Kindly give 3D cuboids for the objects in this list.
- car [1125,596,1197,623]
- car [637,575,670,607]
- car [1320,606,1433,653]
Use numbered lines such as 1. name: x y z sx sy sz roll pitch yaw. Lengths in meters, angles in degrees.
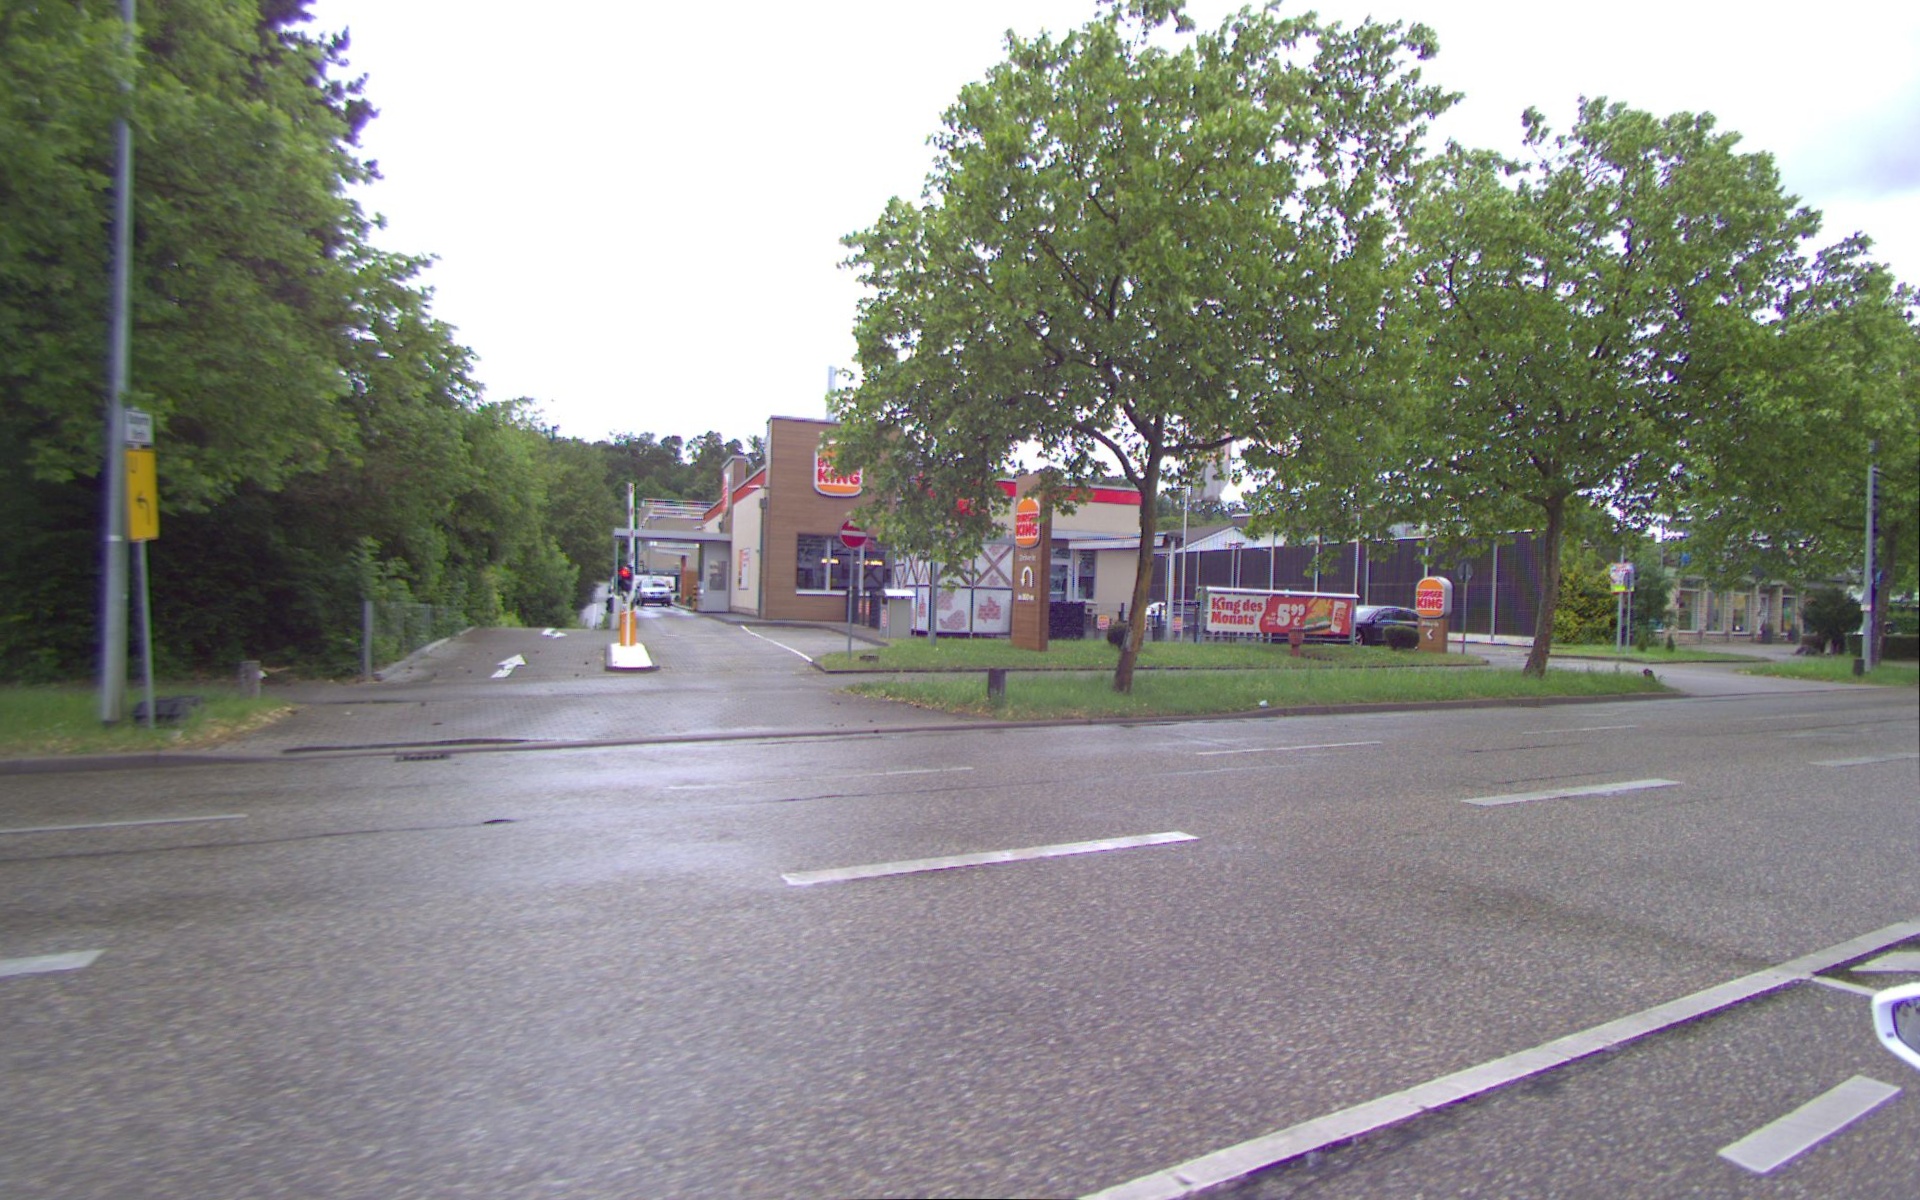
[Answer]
1. car: 13.116 0.649 65.490 4.249 1.660 1.863 1 0 -20
2. car: -18.446 -0.504 60.390 1.633 1.764 3.601 1 -1 -21
3. car: 12.611 0.872 30.568 1.272 1.171 3.167 1 2 -22
